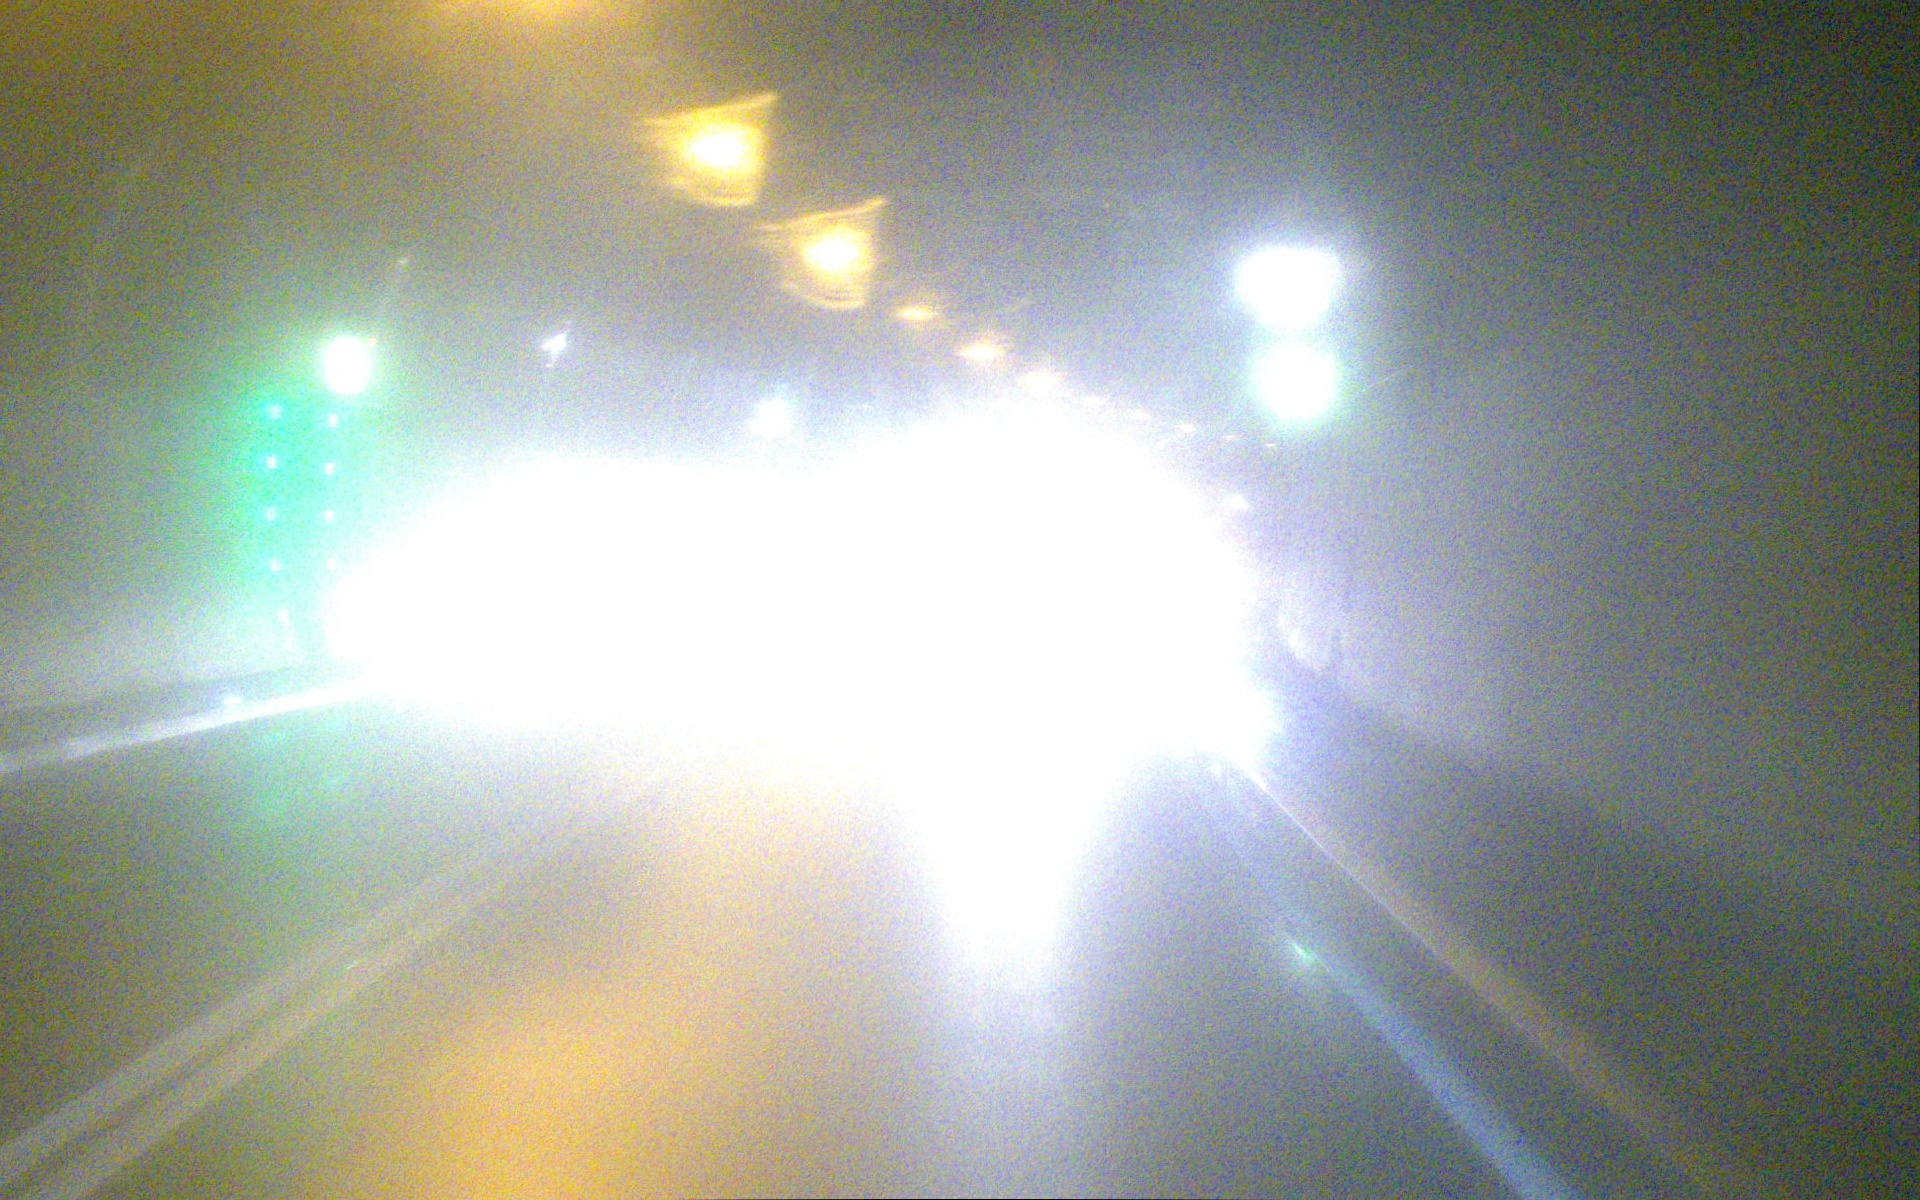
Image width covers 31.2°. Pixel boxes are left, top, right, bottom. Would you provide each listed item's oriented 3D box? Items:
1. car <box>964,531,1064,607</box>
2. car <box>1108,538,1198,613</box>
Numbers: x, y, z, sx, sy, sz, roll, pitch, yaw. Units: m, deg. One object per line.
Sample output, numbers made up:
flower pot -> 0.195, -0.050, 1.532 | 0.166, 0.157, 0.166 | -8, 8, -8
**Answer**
car -> 1.261, -0.727, 78.818 | 1.994, 1.645, 3.999 | 1, 1, 5
car -> 4.455, -0.597, 79.551 | 1.994, 1.645, 4.000 | 1, 1, 3
